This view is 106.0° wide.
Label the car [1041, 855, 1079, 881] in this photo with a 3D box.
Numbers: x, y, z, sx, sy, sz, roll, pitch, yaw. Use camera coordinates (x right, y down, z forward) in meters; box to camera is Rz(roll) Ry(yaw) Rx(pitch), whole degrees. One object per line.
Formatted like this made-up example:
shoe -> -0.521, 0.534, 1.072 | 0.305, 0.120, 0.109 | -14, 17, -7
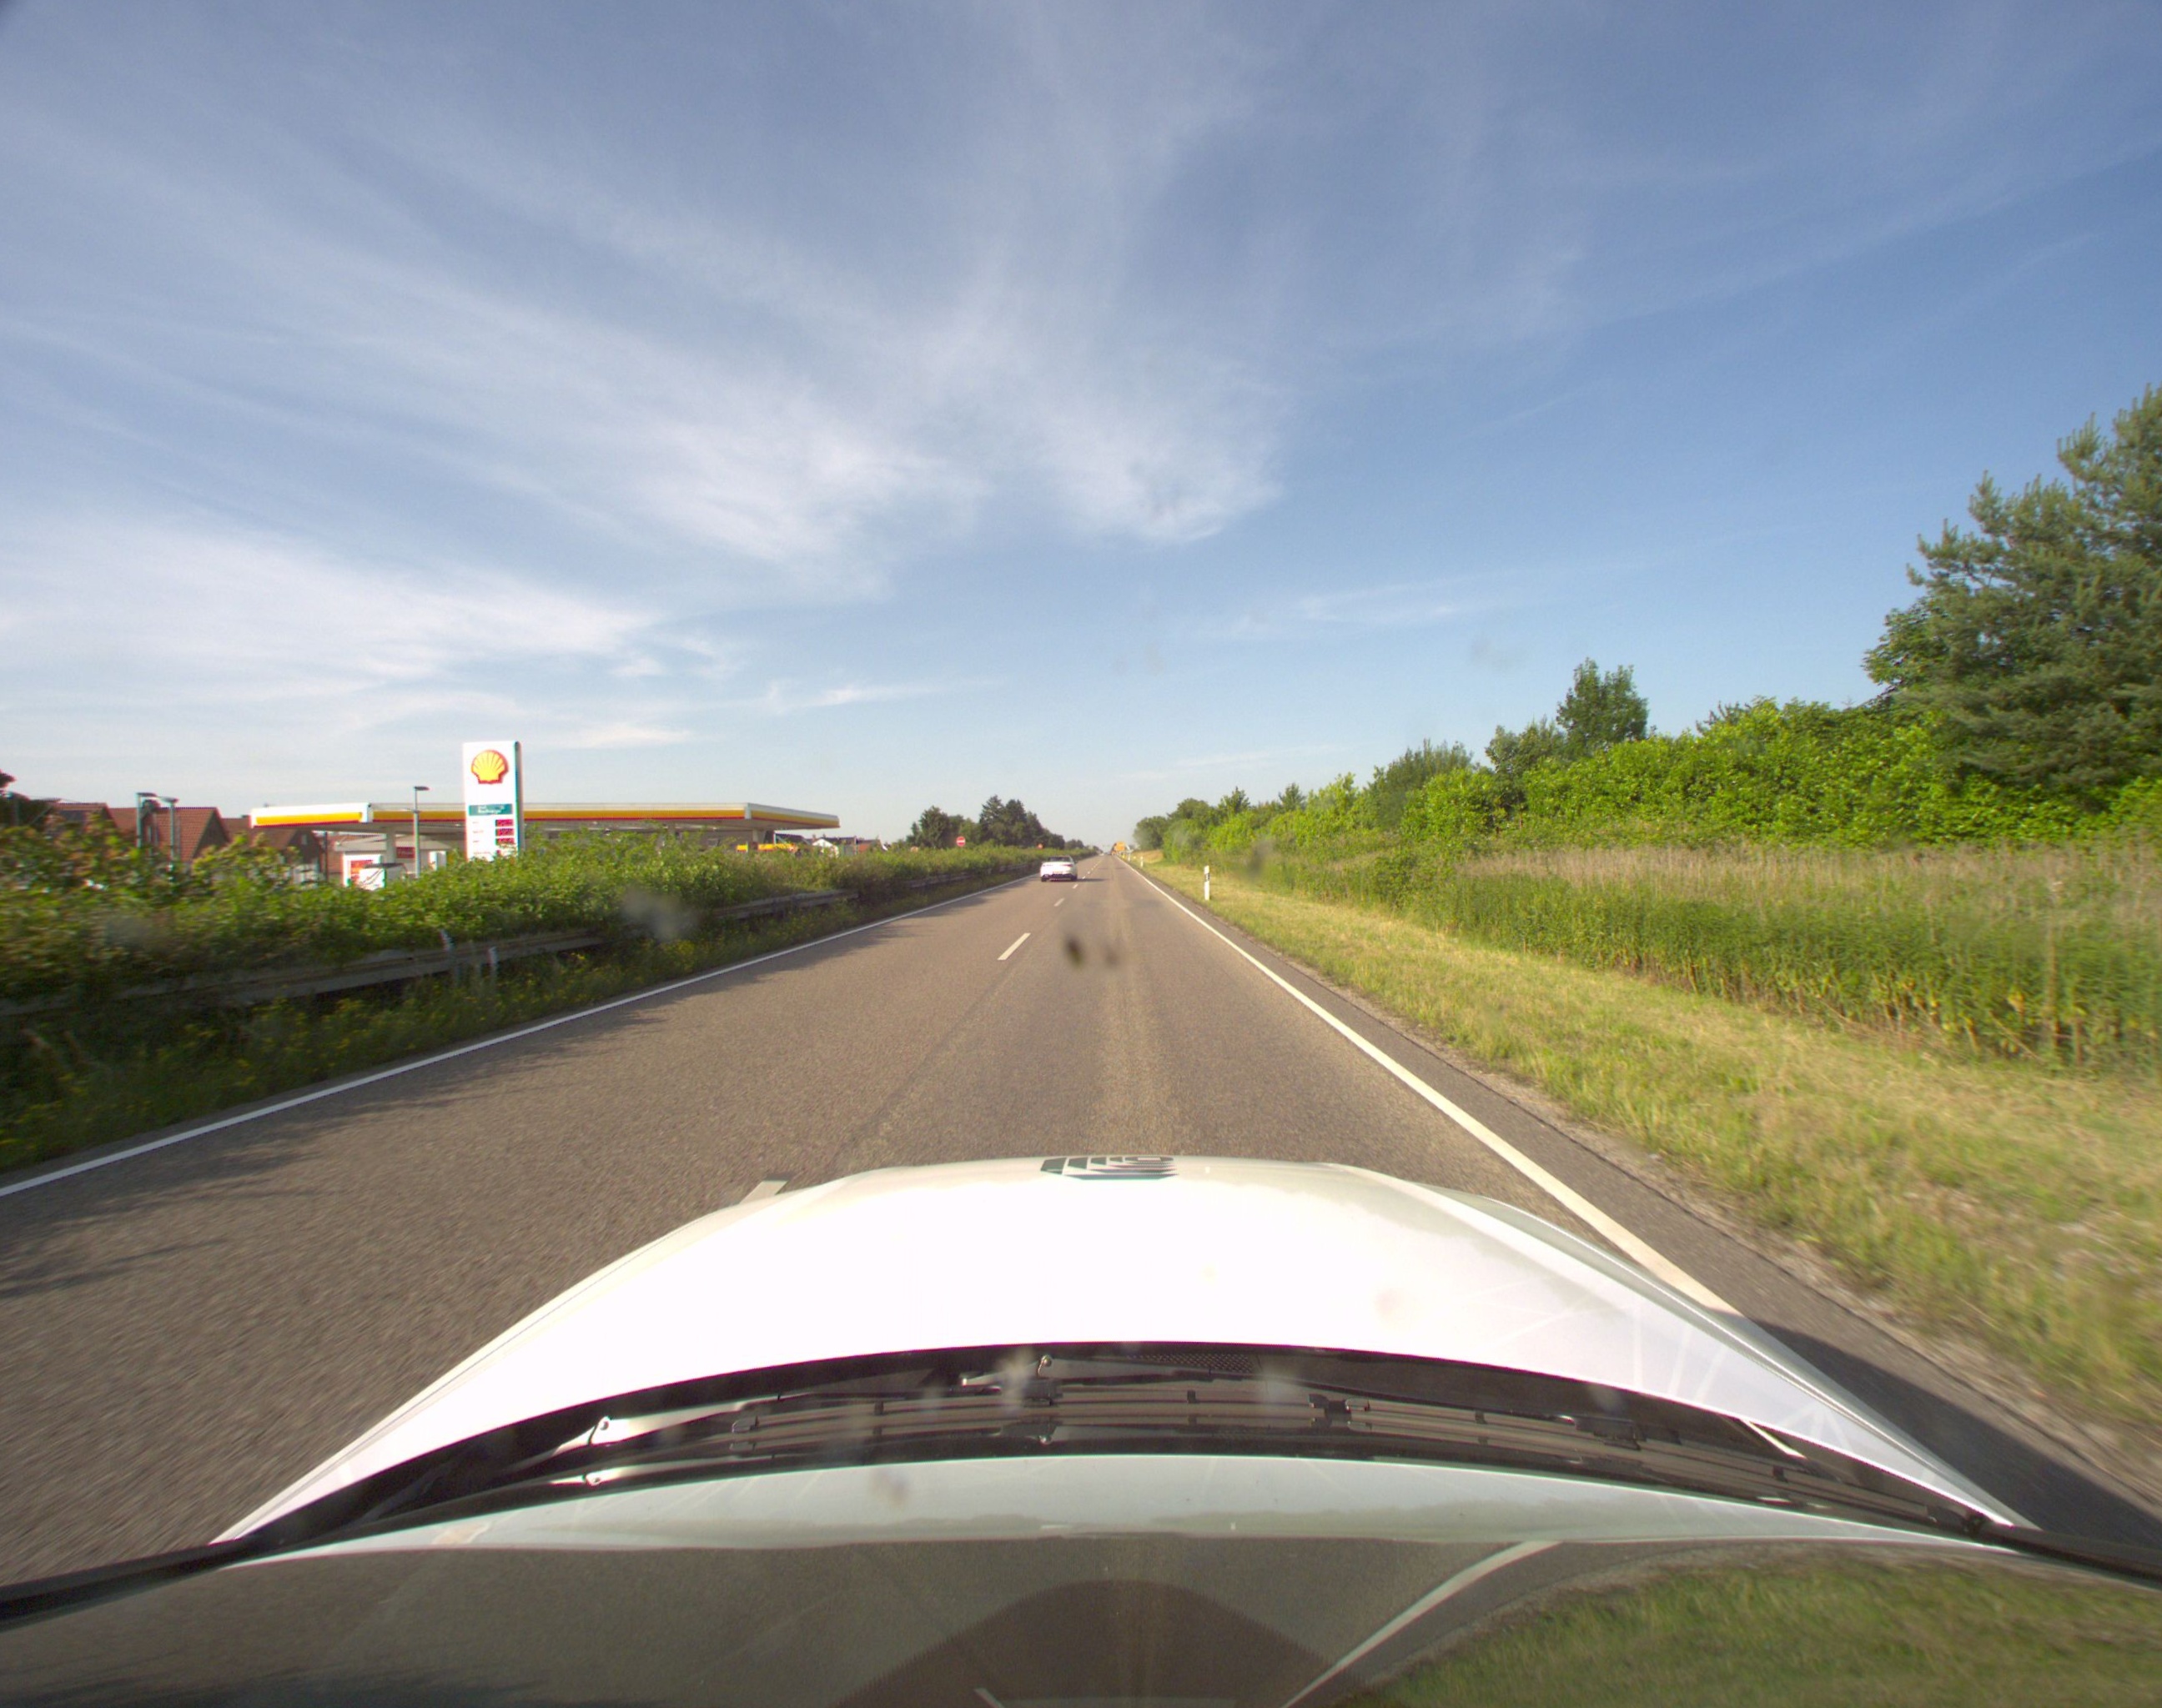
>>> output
car -> -1.113, 0.756, 44.857 | 1.764, 1.337, 4.953 | 0, 0, 2
